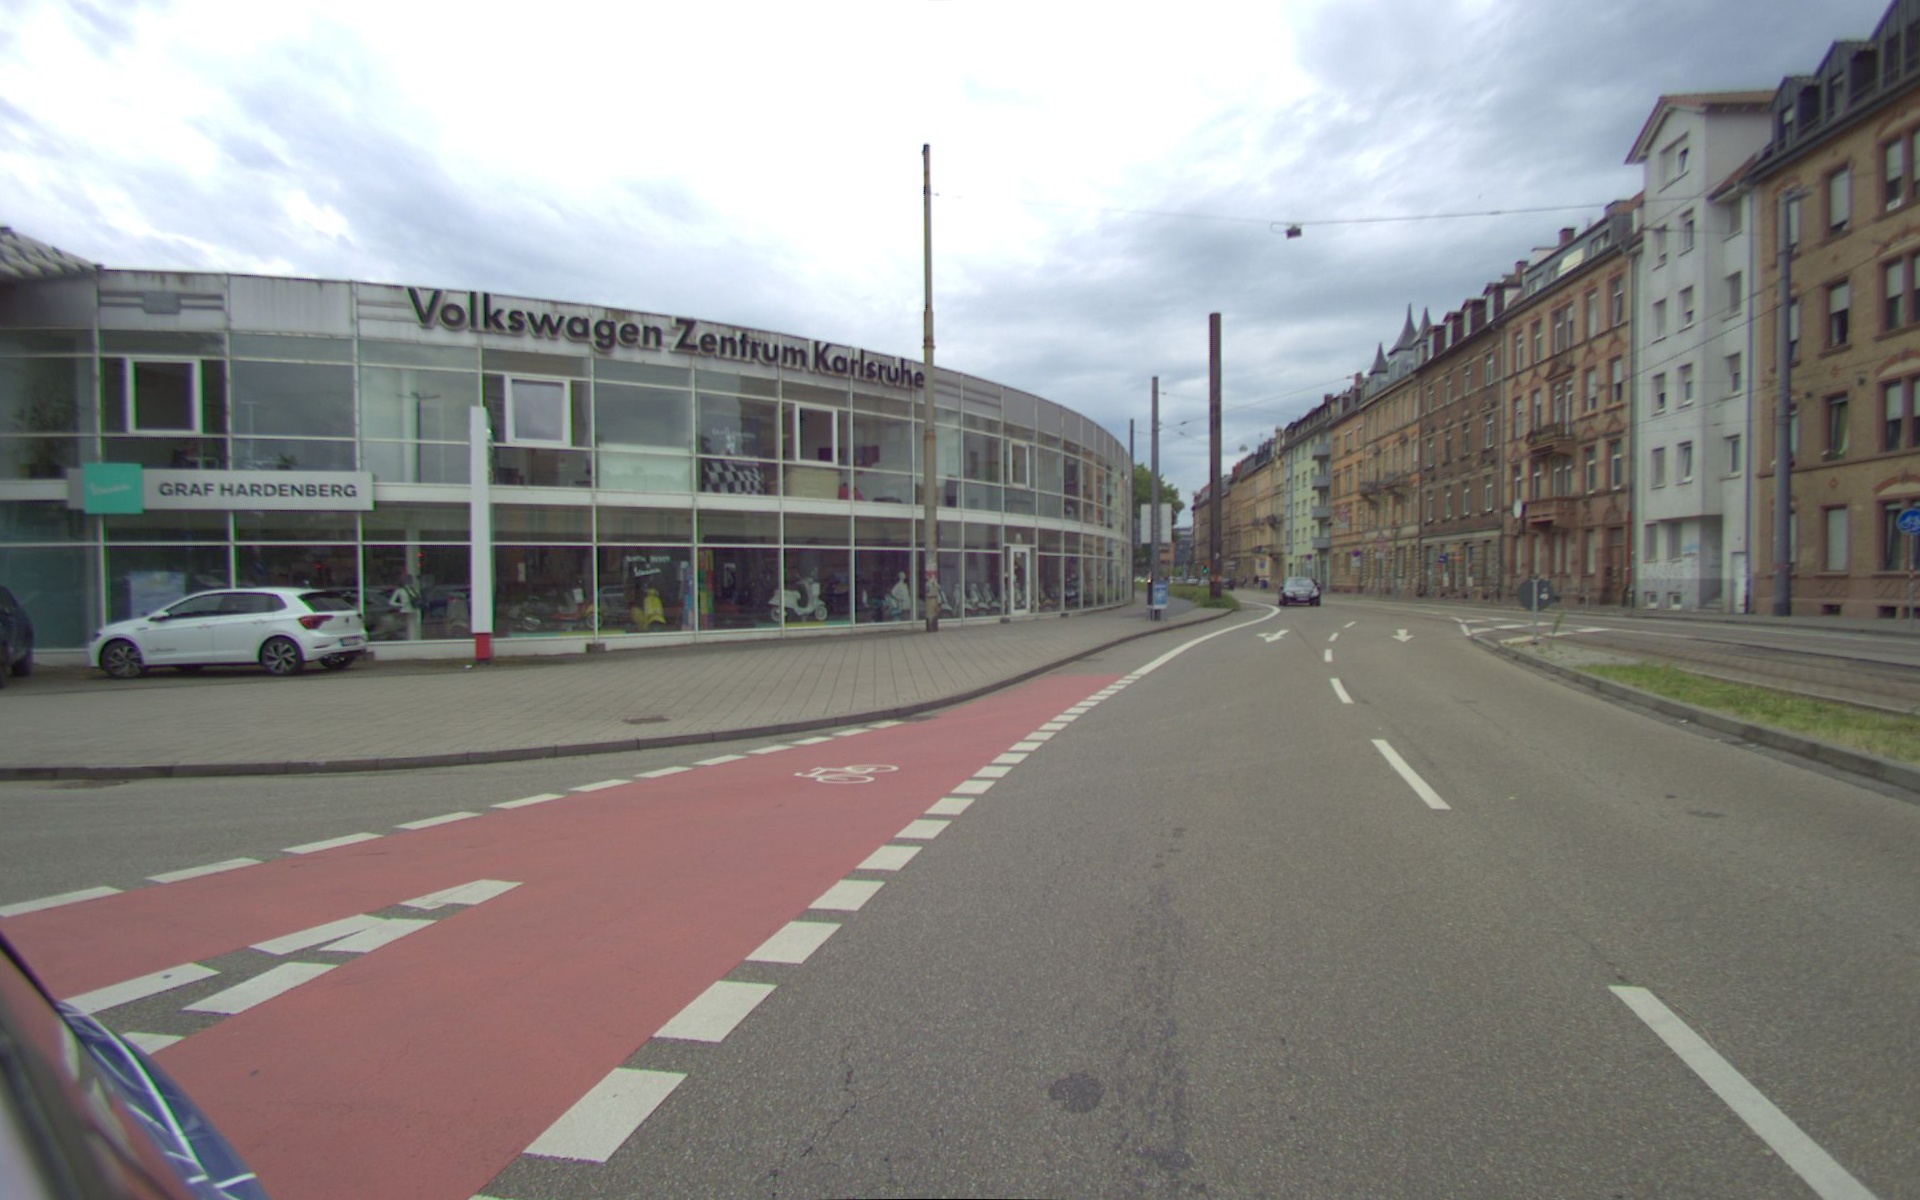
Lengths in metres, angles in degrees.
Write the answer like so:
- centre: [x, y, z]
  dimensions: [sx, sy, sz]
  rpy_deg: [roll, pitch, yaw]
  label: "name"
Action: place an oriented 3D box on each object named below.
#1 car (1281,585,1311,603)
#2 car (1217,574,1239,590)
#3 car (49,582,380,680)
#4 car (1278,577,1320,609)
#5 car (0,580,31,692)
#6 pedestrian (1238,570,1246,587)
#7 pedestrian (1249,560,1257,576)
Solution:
- centre: [28.987, -0.505, 87.441]
  dimensions: [1.834, 1.491, 3.816]
  rpy_deg: [-1, 1, 10]
  label: "car"
- centre: [28.279, -1.917, 106.968]
  dimensions: [1.782, 1.652, 4.220]
  rpy_deg: [-1, 1, 8]
  label: "car"
- centre: [-12.387, 0.476, 17.027]
  dimensions: [4.201, 1.463, 1.784]
  rpy_deg: [-1, 1, -2]
  label: "car"
- centre: [16.143, -0.372, 48.293]
  dimensions: [1.700, 1.432, 4.049]
  rpy_deg: [-1, 1, 16]
  label: "car"
- centre: [-15.533, 0.525, 15.237]
  dimensions: [1.871, 1.574, 4.230]
  rpy_deg: [-2, 2, -37]
  label: "car"
- centre: [34.747, -2.673, 124.683]
  dimensions: [0.801, 2.029, 0.698]
  rpy_deg: [-1, 1, 8]
  label: "pedestrian"
- centre: [36.011, -3.933, 124.418]
  dimensions: [0.801, 2.029, 0.876]
  rpy_deg: [-1, 1, 8]
  label: "pedestrian"
